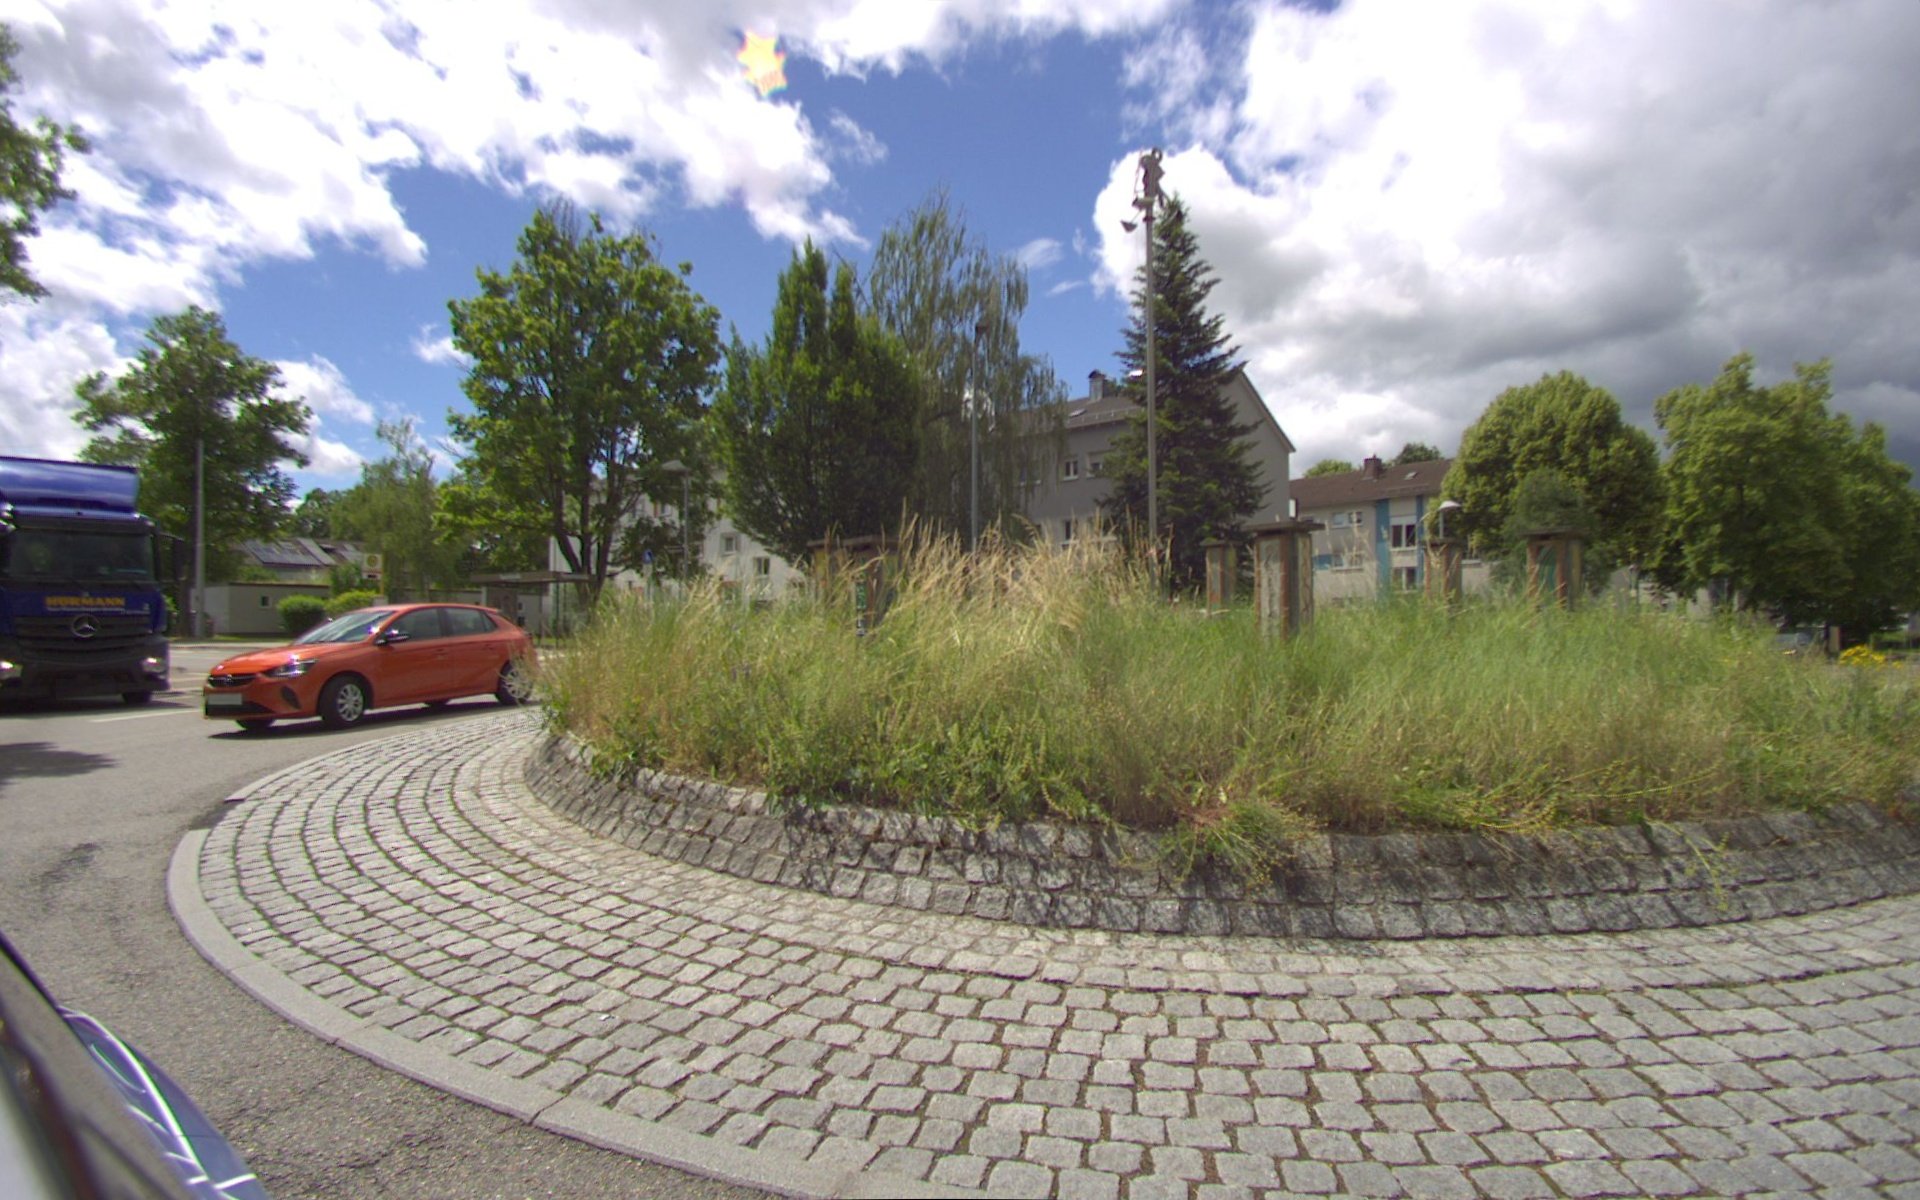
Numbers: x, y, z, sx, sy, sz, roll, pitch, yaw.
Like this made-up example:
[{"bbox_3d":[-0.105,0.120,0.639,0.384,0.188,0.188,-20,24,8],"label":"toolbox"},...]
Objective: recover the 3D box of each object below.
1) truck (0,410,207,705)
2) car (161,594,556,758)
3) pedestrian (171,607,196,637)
[{"bbox_3d":[-17.024,-0.430,18.060,9.773,4.184,2.757,-2,-3,35],"label":"truck"},{"bbox_3d":[-7.398,0.825,12.902,1.758,1.569,3.965,-2,2,26],"label":"car"},{"bbox_3d":[-40.963,1.173,53.377,0.660,1.593,0.891,-1,-2,43],"label":"pedestrian"}]
